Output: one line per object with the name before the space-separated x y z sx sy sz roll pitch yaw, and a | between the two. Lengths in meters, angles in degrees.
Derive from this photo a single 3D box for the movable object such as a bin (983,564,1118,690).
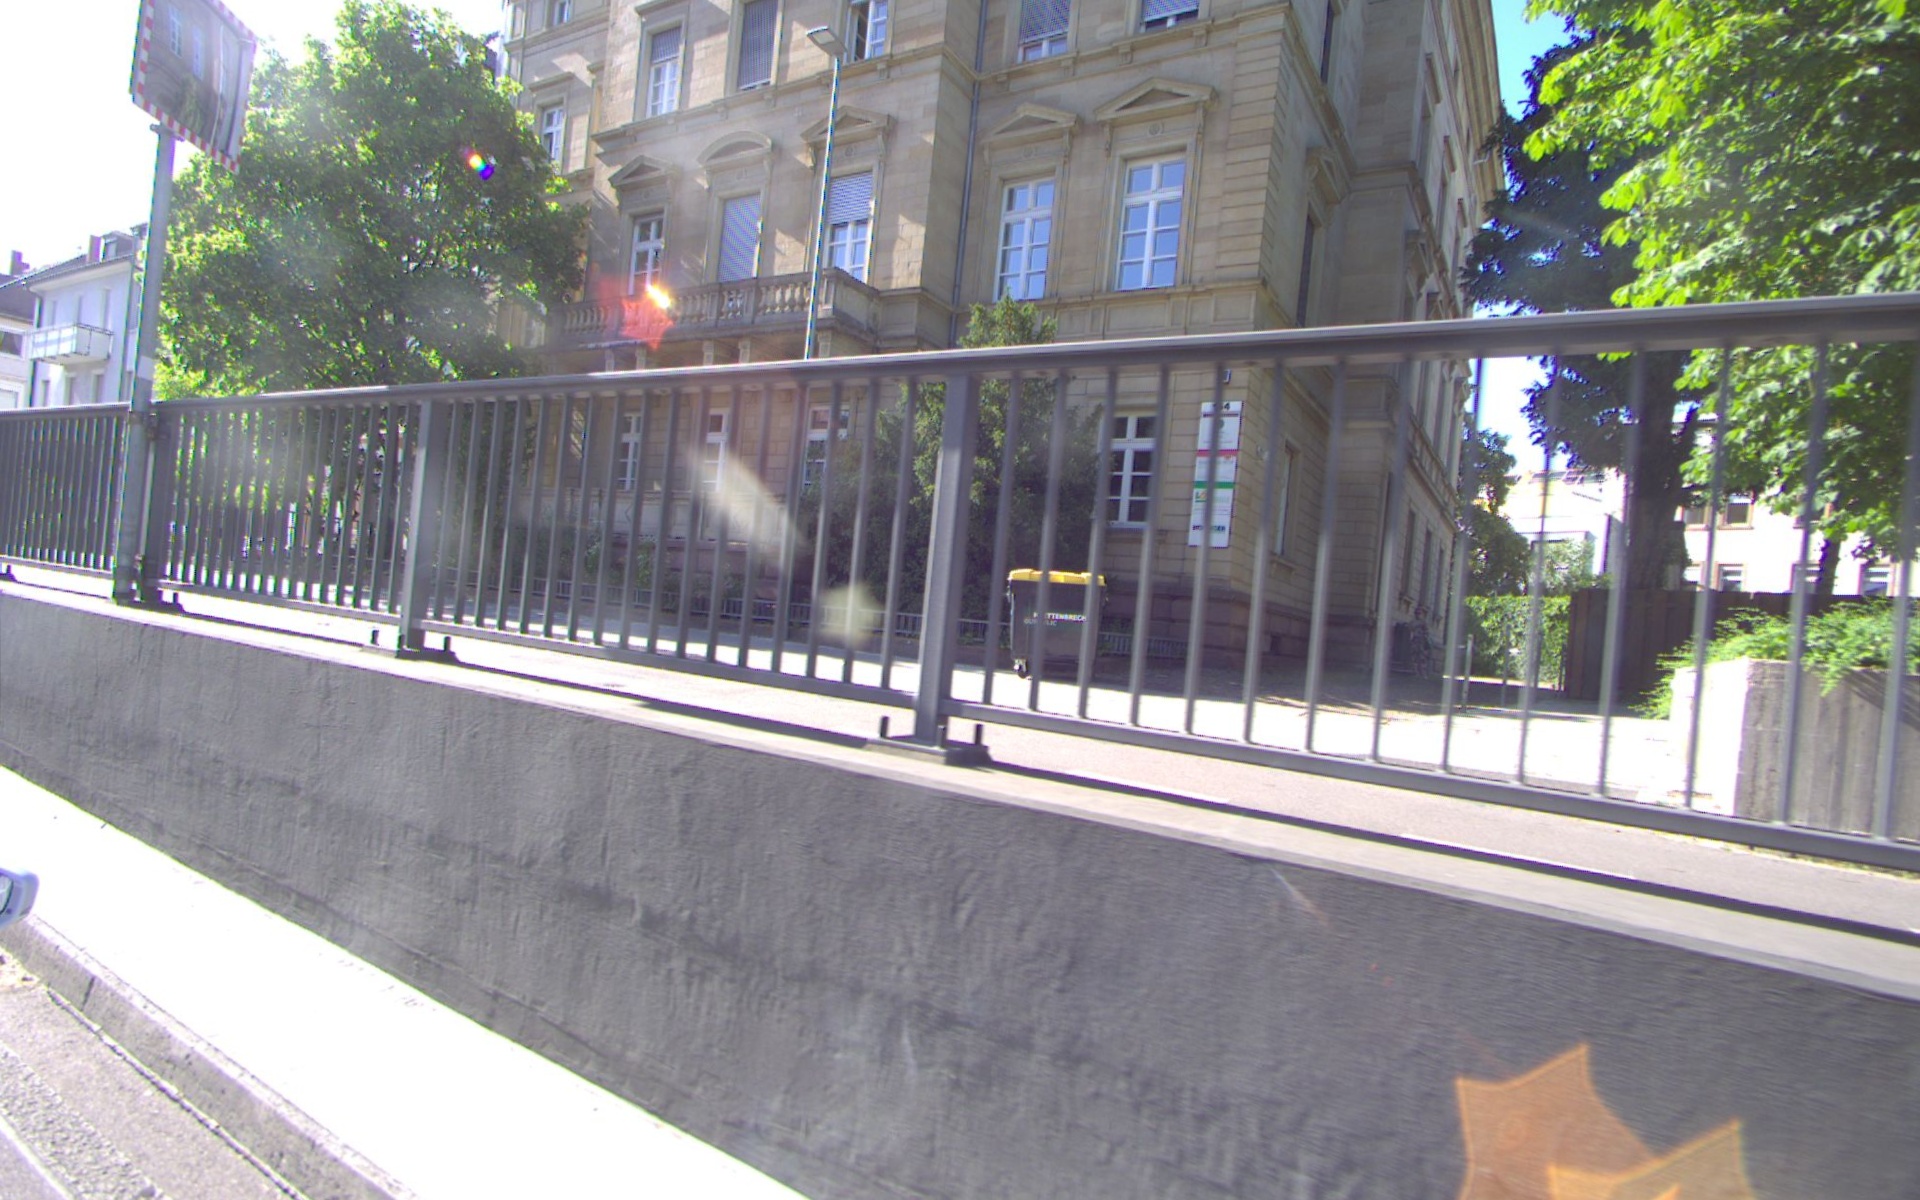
movable object such as a bin | 1.181 0.293 12.736 1.383 1.344 1.448 6 5 14

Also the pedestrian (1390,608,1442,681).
pedestrian | 10.237 1.002 22.578 0.799 1.498 0.852 6 -1 34
